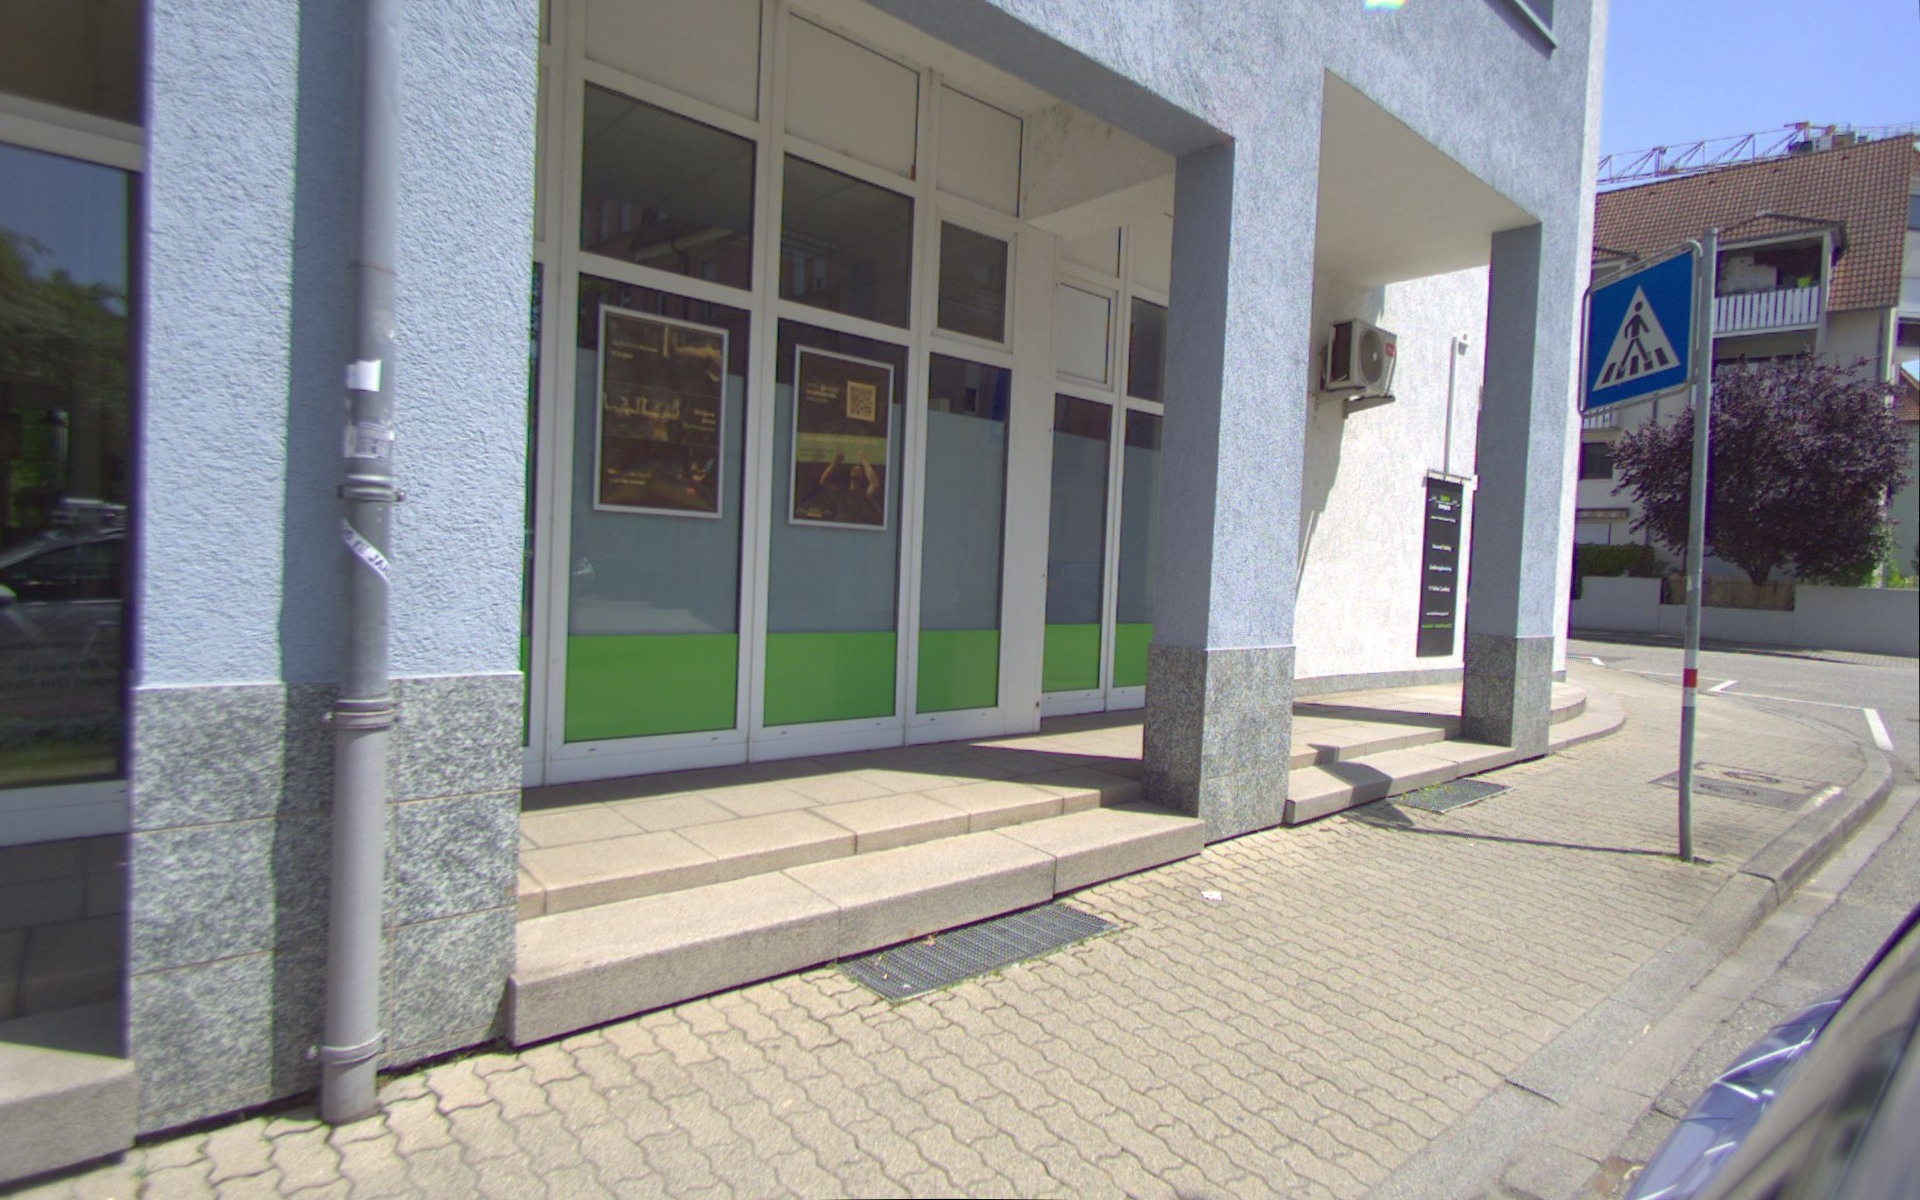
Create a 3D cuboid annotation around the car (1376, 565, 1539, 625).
[{"bbox_3d":[14.838,-0.196,30.322,3.990,1.486,1.710,5,4,45],"label":"car"}]
